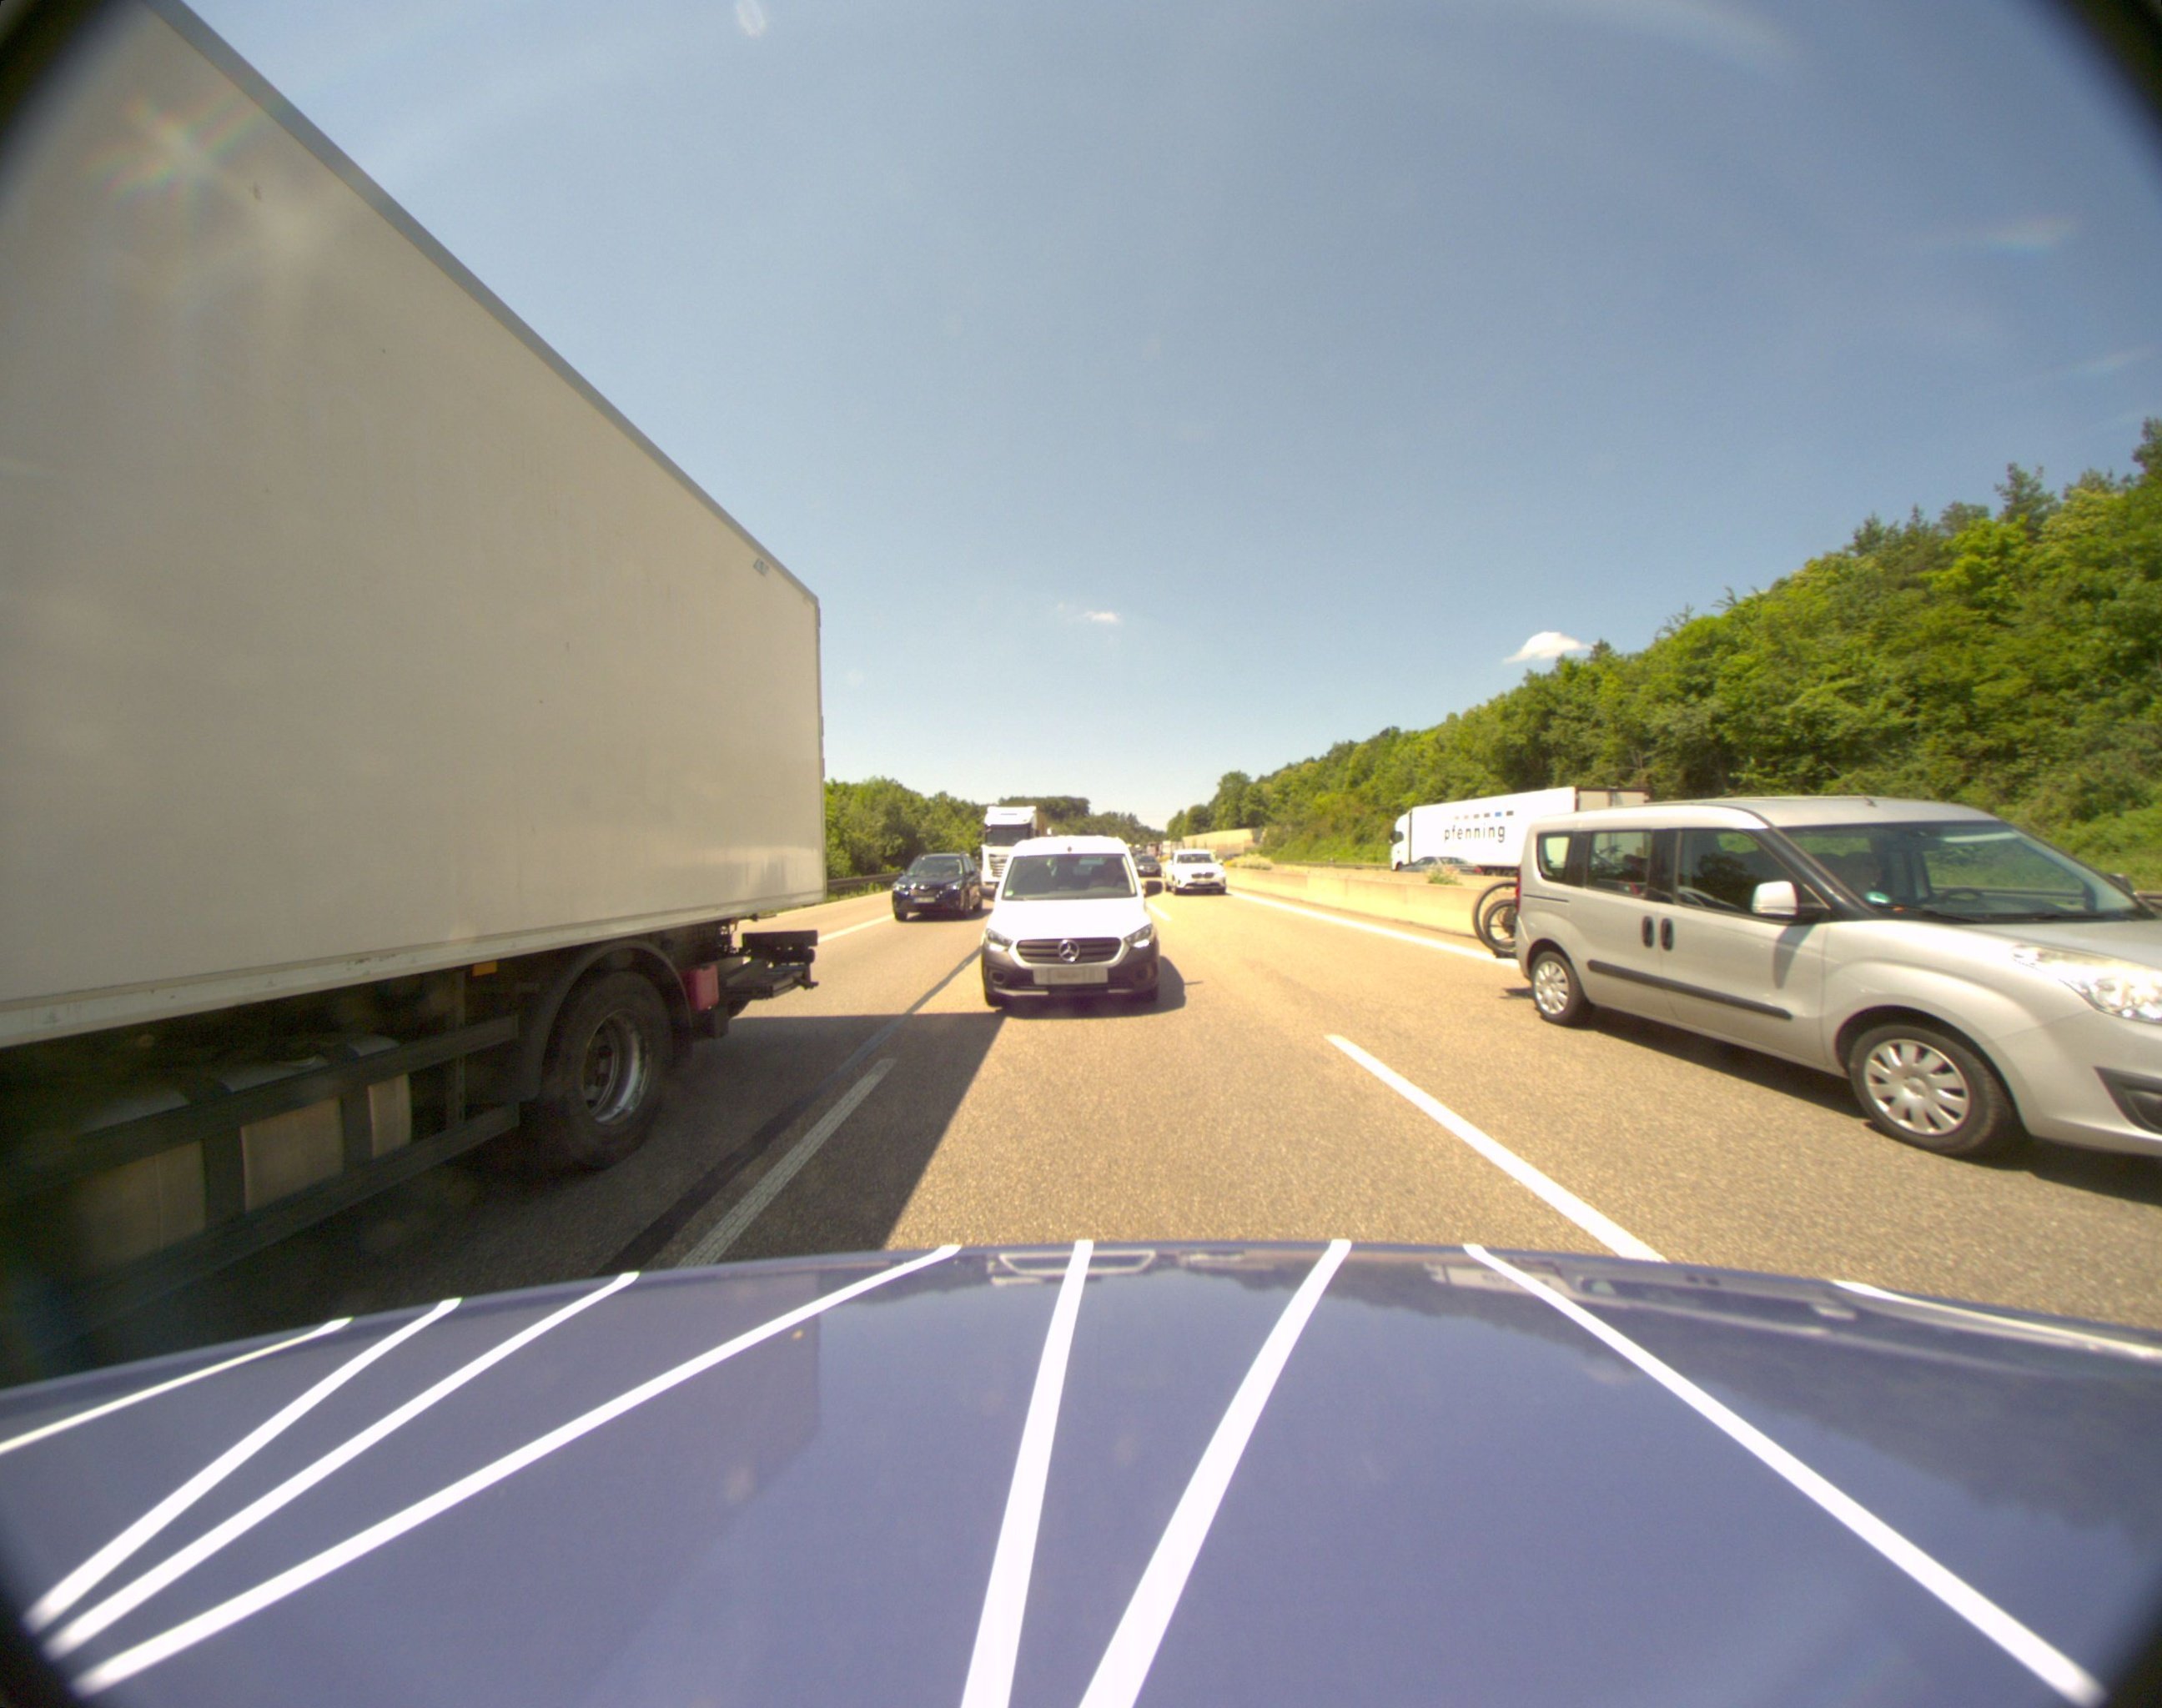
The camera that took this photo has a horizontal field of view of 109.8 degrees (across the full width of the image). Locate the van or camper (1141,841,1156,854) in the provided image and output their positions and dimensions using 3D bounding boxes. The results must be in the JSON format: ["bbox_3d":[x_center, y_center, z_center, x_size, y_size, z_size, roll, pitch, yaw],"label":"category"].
[{"bbox_3d":[15.294,-1.424,172.999,2.401,2.860,6.708,-2,1,-4],"label":"van or camper"}]

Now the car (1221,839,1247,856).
[{"bbox_3d":[19.592,-0.834,97.449,2.119,2.002,4.476,-2,1,-2],"label":"car"}]

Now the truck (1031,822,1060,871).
[{"bbox_3d":[-3.439,-0.645,75.390,2.395,4.437,10.868,-2,0,-1],"label":"truck"}]

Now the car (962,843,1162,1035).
[{"bbox_3d":[-0.152,0.740,9.068,1.756,1.681,4.363,-2,1,0],"label":"car"}]

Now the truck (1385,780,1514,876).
[{"bbox_3d":[19.010,-1.321,39.845,2.957,4.456,7.516,-2,1,-1],"label":"truck"}]

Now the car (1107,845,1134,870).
[{"bbox_3d":[3.247,0.274,63.287,1.998,2.002,4.000,-1,0,1],"label":"car"}]

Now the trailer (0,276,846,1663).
[{"bbox_3d":[-3.536,0.245,3.181,2.562,2.882,7.881,-2,0,0],"label":"trailer"}]

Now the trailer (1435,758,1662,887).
[{"bbox_3d":[19.020,-1.206,32.202,2.956,4.456,10.814,-2,1,0],"label":"trailer"}]

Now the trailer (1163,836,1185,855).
[{"bbox_3d":[19.222,-1.814,158.155,3.005,3.850,11.397,-2,1,0],"label":"trailer"}]

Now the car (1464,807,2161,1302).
[{"bbox_3d":[4.756,0.645,5.111,1.857,1.762,4.916,-2,1,0],"label":"car"}]

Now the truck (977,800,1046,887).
[{"bbox_3d":[-3.491,-0.583,40.086,2.766,4.061,7.332,-2,1,1],"label":"truck"}]

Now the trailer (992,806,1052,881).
[{"bbox_3d":[-3.418,-0.680,46.891,2.767,4.061,11.614,0,1,0],"label":"trailer"}]

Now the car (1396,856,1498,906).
[{"bbox_3d":[15.009,1.049,31.481,1.999,1.753,4.450,-2,1,-1],"label":"car"}]

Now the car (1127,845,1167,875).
[{"bbox_3d":[4.215,0.343,49.417,1.999,1.747,3.998,-2,1,-3],"label":"car"}]

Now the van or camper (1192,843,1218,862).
[{"bbox_3d":[15.456,-0.203,94.913,1.999,2.371,4.806,-1,0,-5],"label":"van or camper"}]

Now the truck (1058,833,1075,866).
[{"bbox_3d":[-1.990,-0.619,107.941,2.187,4.437,10.868,-2,0,-1],"label":"truck"}]

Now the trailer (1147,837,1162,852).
[{"bbox_3d":[21.549,-2.746,223.656,3.443,4.171,7.895,-2,1,0],"label":"trailer"}]

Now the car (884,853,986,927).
[{"bbox_3d":[-3.777,0.857,20.449,1.999,1.682,4.609,0,1,-2],"label":"car"}]

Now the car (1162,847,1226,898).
[{"bbox_3d":[4.208,0.636,28.884,1.824,1.696,3.999,-2,1,0],"label":"car"}]

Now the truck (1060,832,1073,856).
[{"bbox_3d":[-2.550,-1.651,136.113,2.187,4.073,10.868,-2,0,-1],"label":"truck"}]

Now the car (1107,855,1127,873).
[{"bbox_3d":[4.229,1.148,89.958,1.999,2.002,3.998,-2,1,-2],"label":"car"}]
